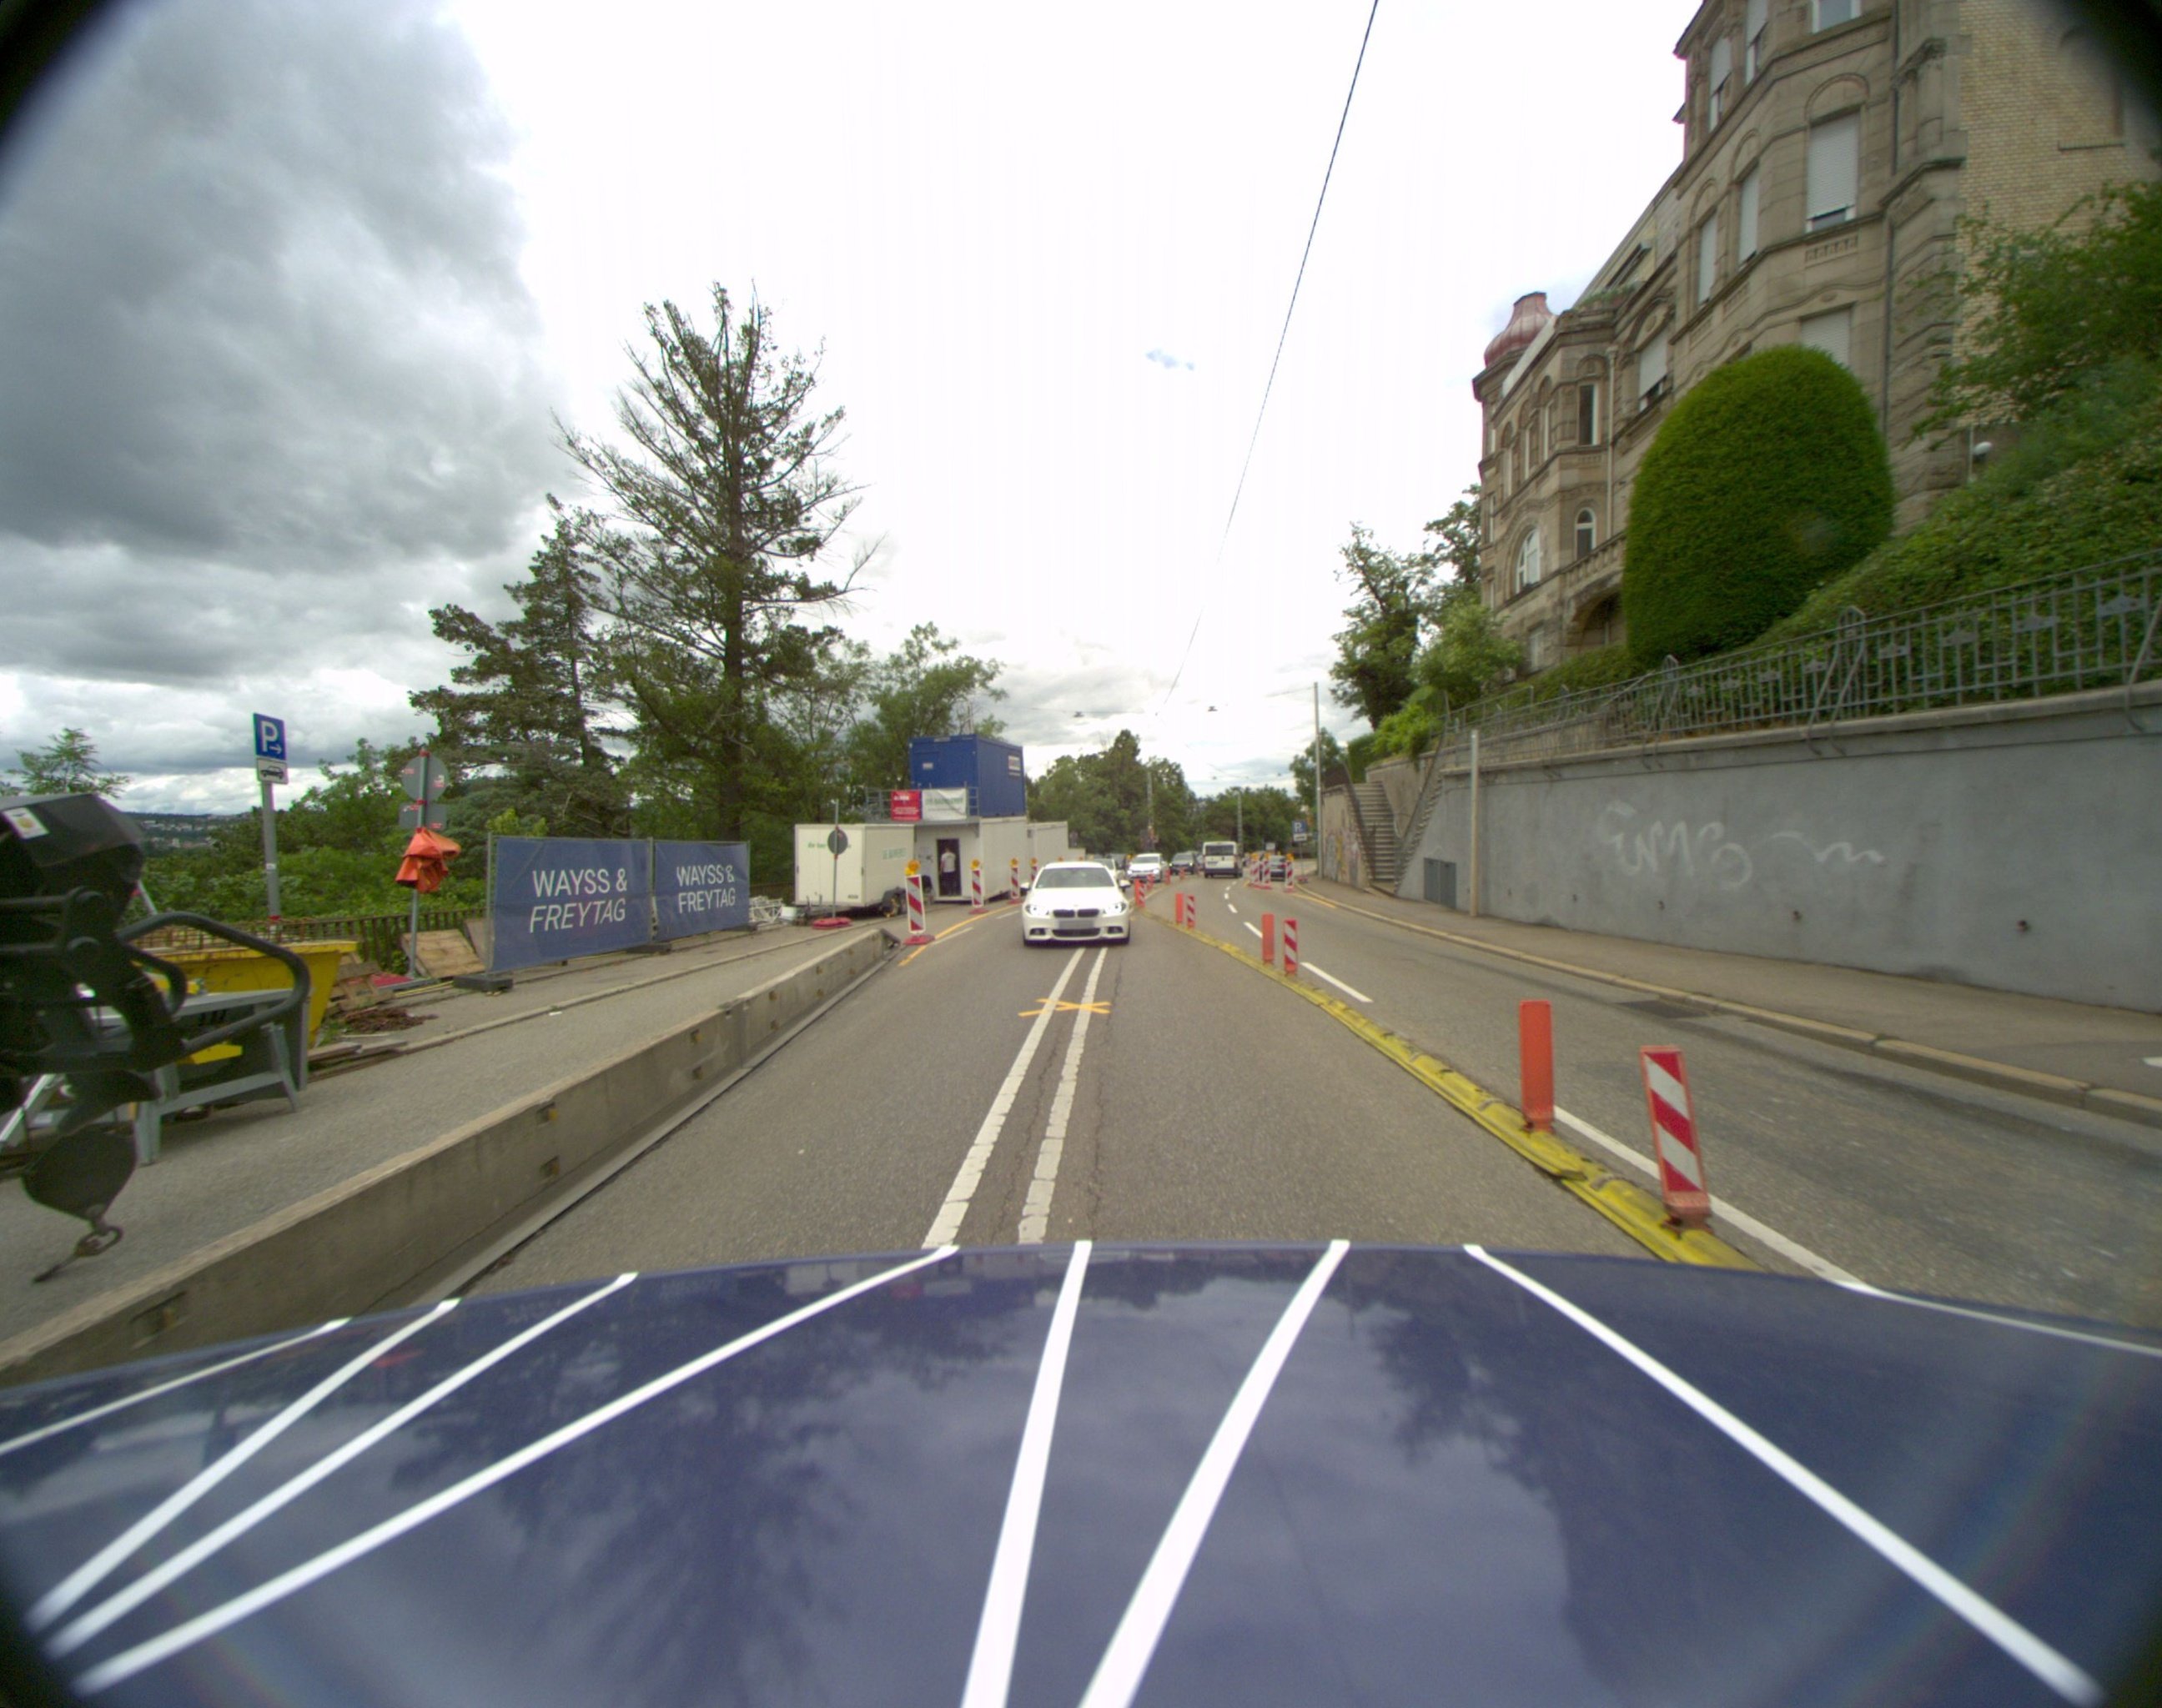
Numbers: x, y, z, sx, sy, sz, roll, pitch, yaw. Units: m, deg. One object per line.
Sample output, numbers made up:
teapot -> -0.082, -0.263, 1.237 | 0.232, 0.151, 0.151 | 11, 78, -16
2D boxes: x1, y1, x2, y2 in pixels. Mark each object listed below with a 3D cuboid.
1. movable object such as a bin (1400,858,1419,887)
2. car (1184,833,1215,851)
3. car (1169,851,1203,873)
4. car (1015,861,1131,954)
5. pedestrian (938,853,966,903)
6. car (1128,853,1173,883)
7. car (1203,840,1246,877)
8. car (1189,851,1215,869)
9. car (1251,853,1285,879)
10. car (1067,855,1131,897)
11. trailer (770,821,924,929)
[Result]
movable object such as a bin -> 10.805, 0.602, 25.019 | 0.454, 0.906, 0.508 | -1, 1, 12
car -> 12.446, -1.226, 79.544 | 1.854, 1.665, 4.287 | 6, 3, 28
car -> 7.840, 0.588, 56.623 | 1.796, 1.502, 4.005 | 1, 1, 18
car -> -0.001, 0.909, 14.655 | 1.791, 1.472, 4.246 | -1, 0, 5
pedestrian -> -4.435, 0.818, 26.115 | 0.651, 1.651, 0.649 | -3, 1, -32
car -> 3.893, 0.759, 41.923 | 1.790, 1.542, 4.249 | -1, 0, 14
car -> 9.003, 0.258, 47.447 | 2.069, 2.175, 4.969 | 1, 0, 17
car -> 10.937, 0.486, 68.599 | 1.796, 1.502, 4.005 | 1, 1, 17
car -> 10.795, 0.654, 43.890 | 1.801, 1.365, 4.392 | 1, 1, 13
car -> 0.809, 0.823, 30.080 | 1.790, 1.472, 4.248 | -1, 0, 11
trailer -> -6.047, 0.464, 20.425 | 2.111, 2.535, 5.121 | 0, 1, 6
